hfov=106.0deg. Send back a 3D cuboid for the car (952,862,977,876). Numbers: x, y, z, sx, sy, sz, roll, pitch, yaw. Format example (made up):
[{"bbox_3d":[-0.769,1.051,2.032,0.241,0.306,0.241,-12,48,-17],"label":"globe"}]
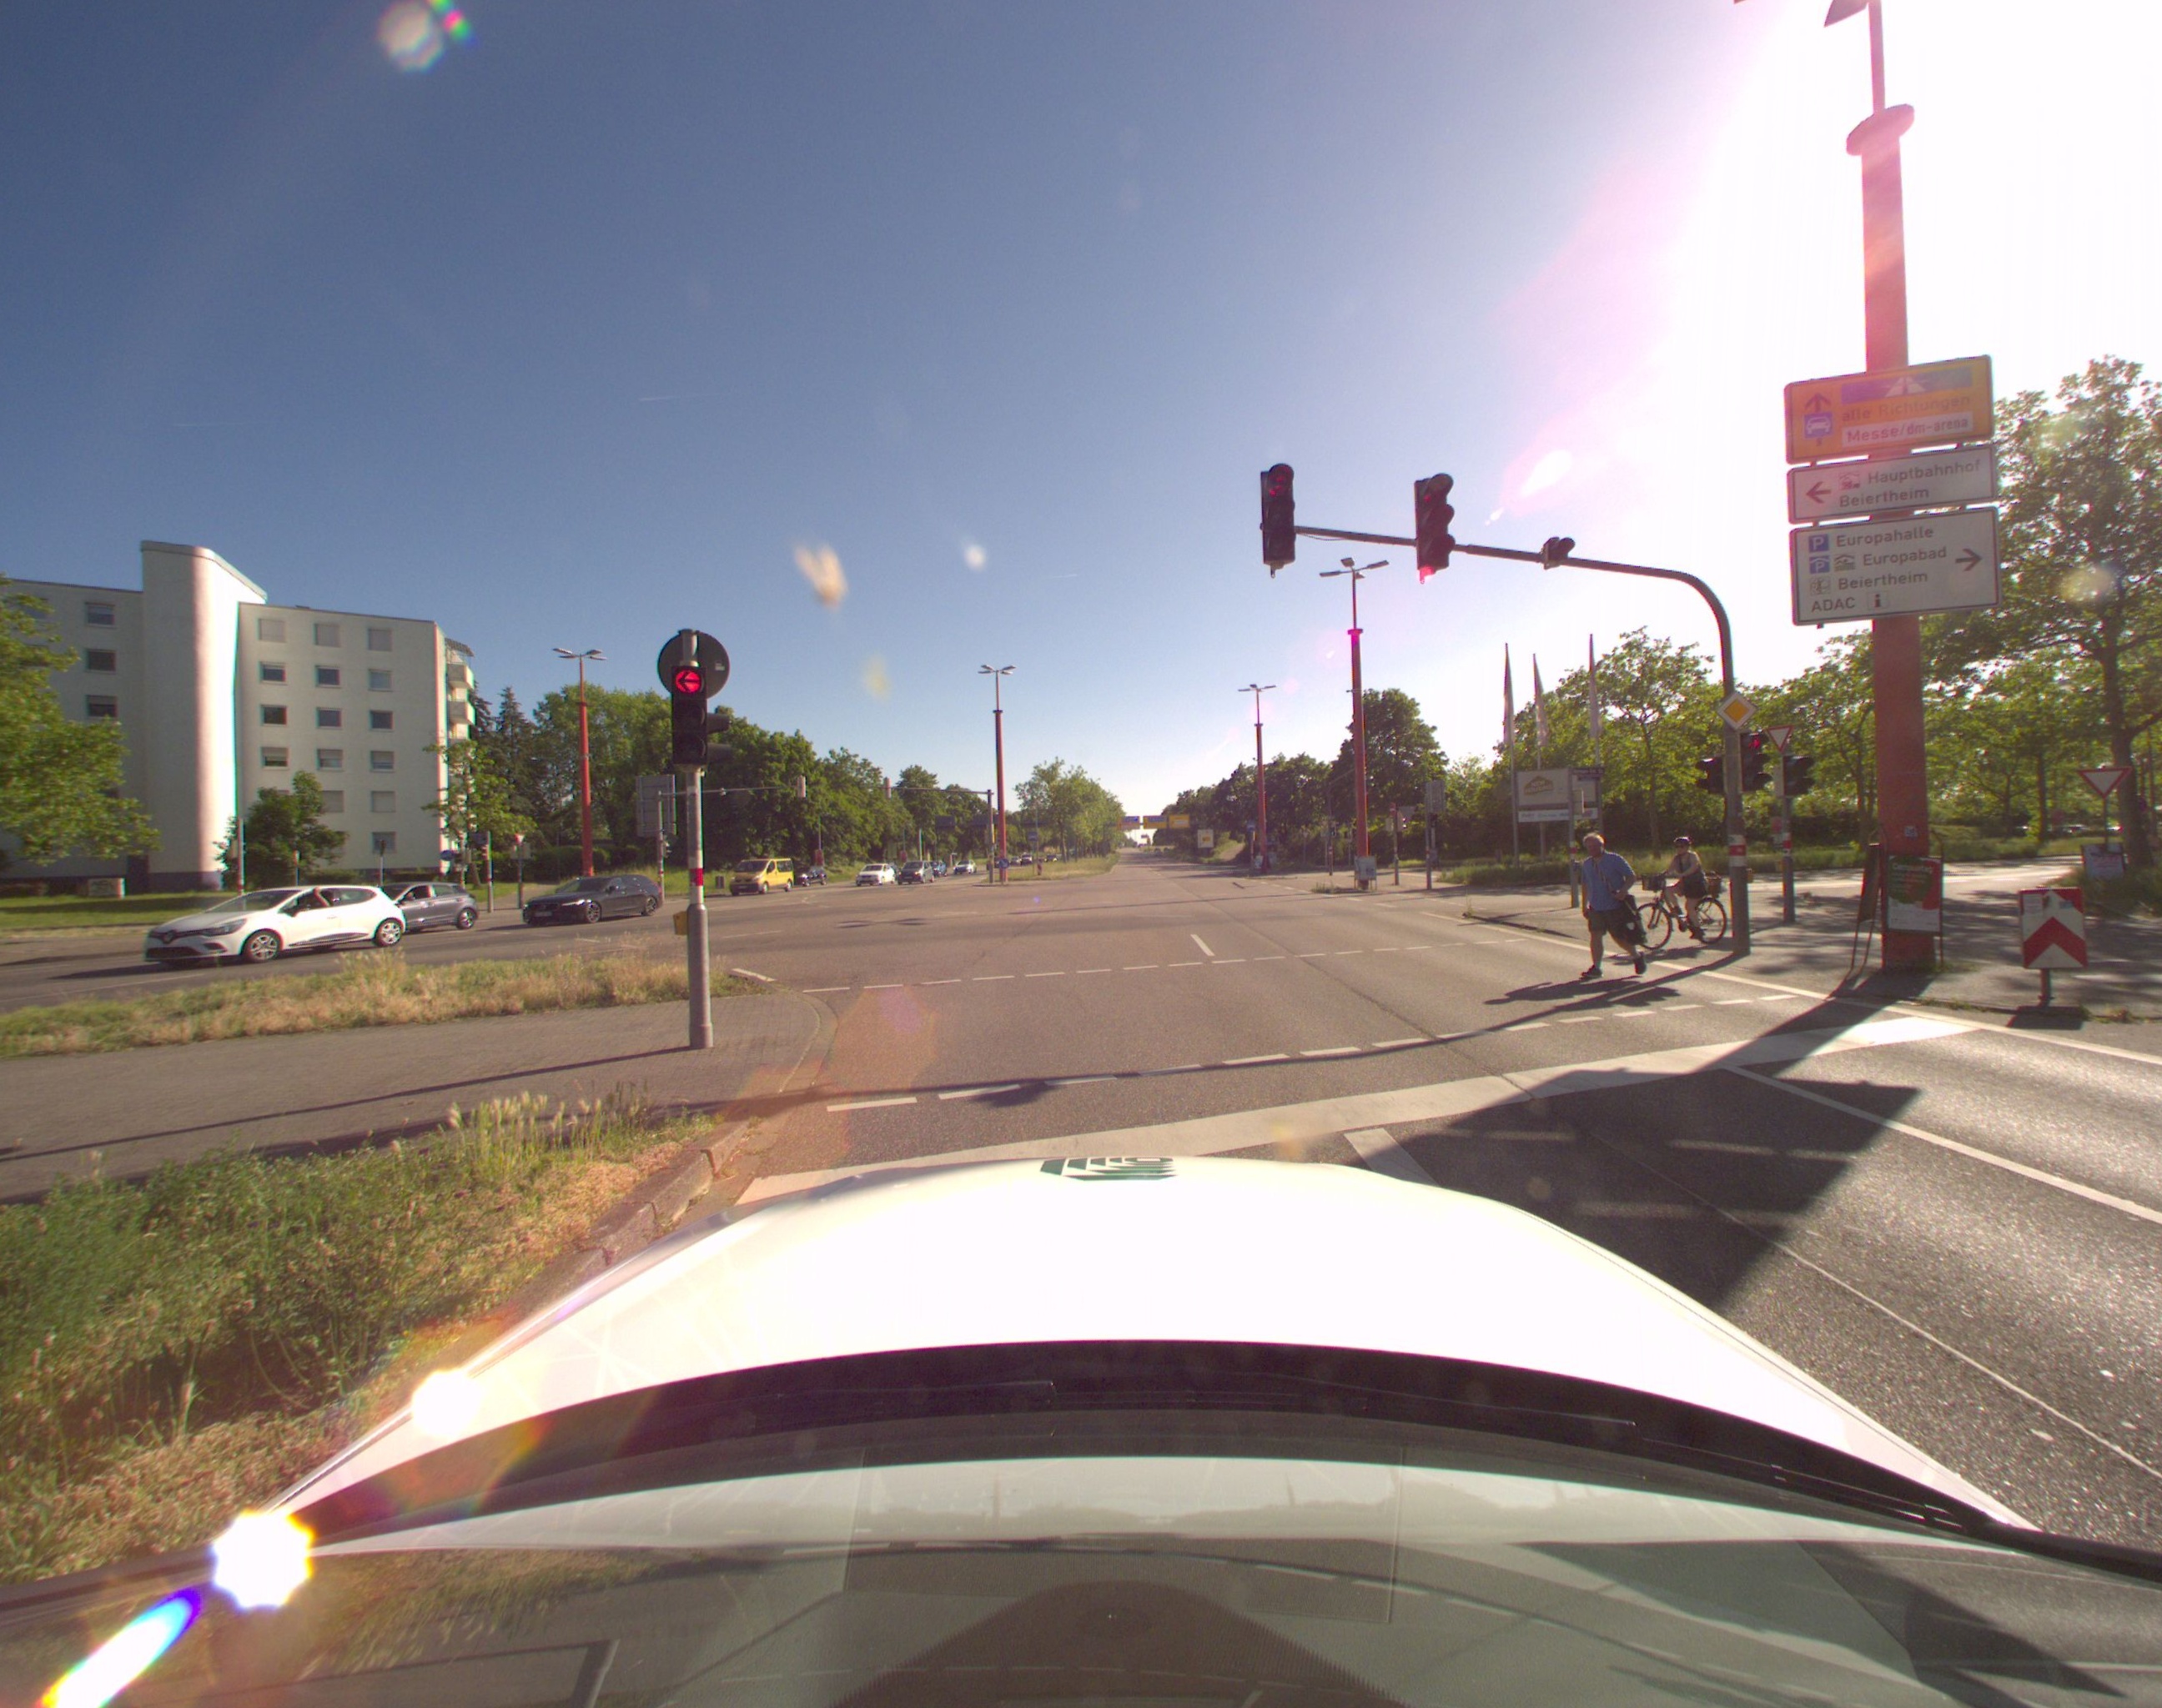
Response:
[{"bbox_3d":[-12.130,1.559,85.239,1.997,1.308,4.000,-2,0,0],"label":"car"}]

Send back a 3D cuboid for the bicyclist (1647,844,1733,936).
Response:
[{"bbox_3d":[9.295,0.537,12.446,0.739,1.341,0.705,-2,0,-9],"label":"bicyclist"}]

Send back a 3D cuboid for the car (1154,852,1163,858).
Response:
[{"bbox_3d":[19.087,0.169,200.302,2.046,1.371,4.393,-2,0,2],"label":"car"}]

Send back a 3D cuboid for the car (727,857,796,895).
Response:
[{"bbox_3d":[-17.899,1.206,45.935,1.750,1.987,4.793,-1,-1,3],"label":"car"}]

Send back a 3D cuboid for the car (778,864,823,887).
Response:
[{"bbox_3d":[-21.351,1.611,62.105,1.986,1.638,4.001,-1,-1,1],"label":"car"}]

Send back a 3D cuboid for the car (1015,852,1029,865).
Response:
[{"bbox_3d":[-9.553,0.779,132.532,1.997,2.014,4.000,-1,-1,0],"label":"car"}]

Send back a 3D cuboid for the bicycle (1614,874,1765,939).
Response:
[{"bbox_3d":[9.323,0.782,12.482,2.163,0.878,0.557,-2,0,-12],"label":"bicycle"}]

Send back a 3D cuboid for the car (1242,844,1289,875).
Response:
[{"bbox_3d":[12.188,0.324,53.598,1.975,1.887,4.024,-2,0,27],"label":"car"}]

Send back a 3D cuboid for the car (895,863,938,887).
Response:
[{"bbox_3d":[-10.574,1.330,52.501,1.693,1.421,4.003,1,-1,3],"label":"car"}]

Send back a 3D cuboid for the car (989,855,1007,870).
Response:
[{"bbox_3d":[-10.466,1.040,103.108,1.618,1.739,4.004,-2,0,4],"label":"car"}]

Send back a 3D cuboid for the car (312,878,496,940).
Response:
[{"bbox_3d":[-18.901,1.476,23.010,1.689,1.464,4.003,-2,0,3],"label":"car"}]

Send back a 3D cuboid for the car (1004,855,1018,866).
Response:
[{"bbox_3d":[-12.506,1.162,146.002,1.997,2.014,4.000,-1,-1,0],"label":"car"}]

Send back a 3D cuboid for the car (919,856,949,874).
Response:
[{"bbox_3d":[-12.827,0.965,71.209,1.696,1.558,3.807,-1,-1,4],"label":"car"}]

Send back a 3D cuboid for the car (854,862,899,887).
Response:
[{"bbox_3d":[-13.707,1.318,54.775,1.696,1.596,4.004,-1,-1,4],"label":"car"}]

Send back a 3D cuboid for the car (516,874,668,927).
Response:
[{"bbox_3d":[-15.142,1.382,25.584,1.621,1.368,4.801,-2,0,4],"label":"car"}]

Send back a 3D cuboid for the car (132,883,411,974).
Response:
[{"bbox_3d":[-16.243,1.424,16.673,1.598,1.459,3.954,-2,0,4],"label":"car"}]

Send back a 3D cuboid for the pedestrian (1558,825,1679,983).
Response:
[{"bbox_3d":[6.475,0.562,9.824,0.897,1.788,0.891,-1,0,-32],"label":"pedestrian"}]
